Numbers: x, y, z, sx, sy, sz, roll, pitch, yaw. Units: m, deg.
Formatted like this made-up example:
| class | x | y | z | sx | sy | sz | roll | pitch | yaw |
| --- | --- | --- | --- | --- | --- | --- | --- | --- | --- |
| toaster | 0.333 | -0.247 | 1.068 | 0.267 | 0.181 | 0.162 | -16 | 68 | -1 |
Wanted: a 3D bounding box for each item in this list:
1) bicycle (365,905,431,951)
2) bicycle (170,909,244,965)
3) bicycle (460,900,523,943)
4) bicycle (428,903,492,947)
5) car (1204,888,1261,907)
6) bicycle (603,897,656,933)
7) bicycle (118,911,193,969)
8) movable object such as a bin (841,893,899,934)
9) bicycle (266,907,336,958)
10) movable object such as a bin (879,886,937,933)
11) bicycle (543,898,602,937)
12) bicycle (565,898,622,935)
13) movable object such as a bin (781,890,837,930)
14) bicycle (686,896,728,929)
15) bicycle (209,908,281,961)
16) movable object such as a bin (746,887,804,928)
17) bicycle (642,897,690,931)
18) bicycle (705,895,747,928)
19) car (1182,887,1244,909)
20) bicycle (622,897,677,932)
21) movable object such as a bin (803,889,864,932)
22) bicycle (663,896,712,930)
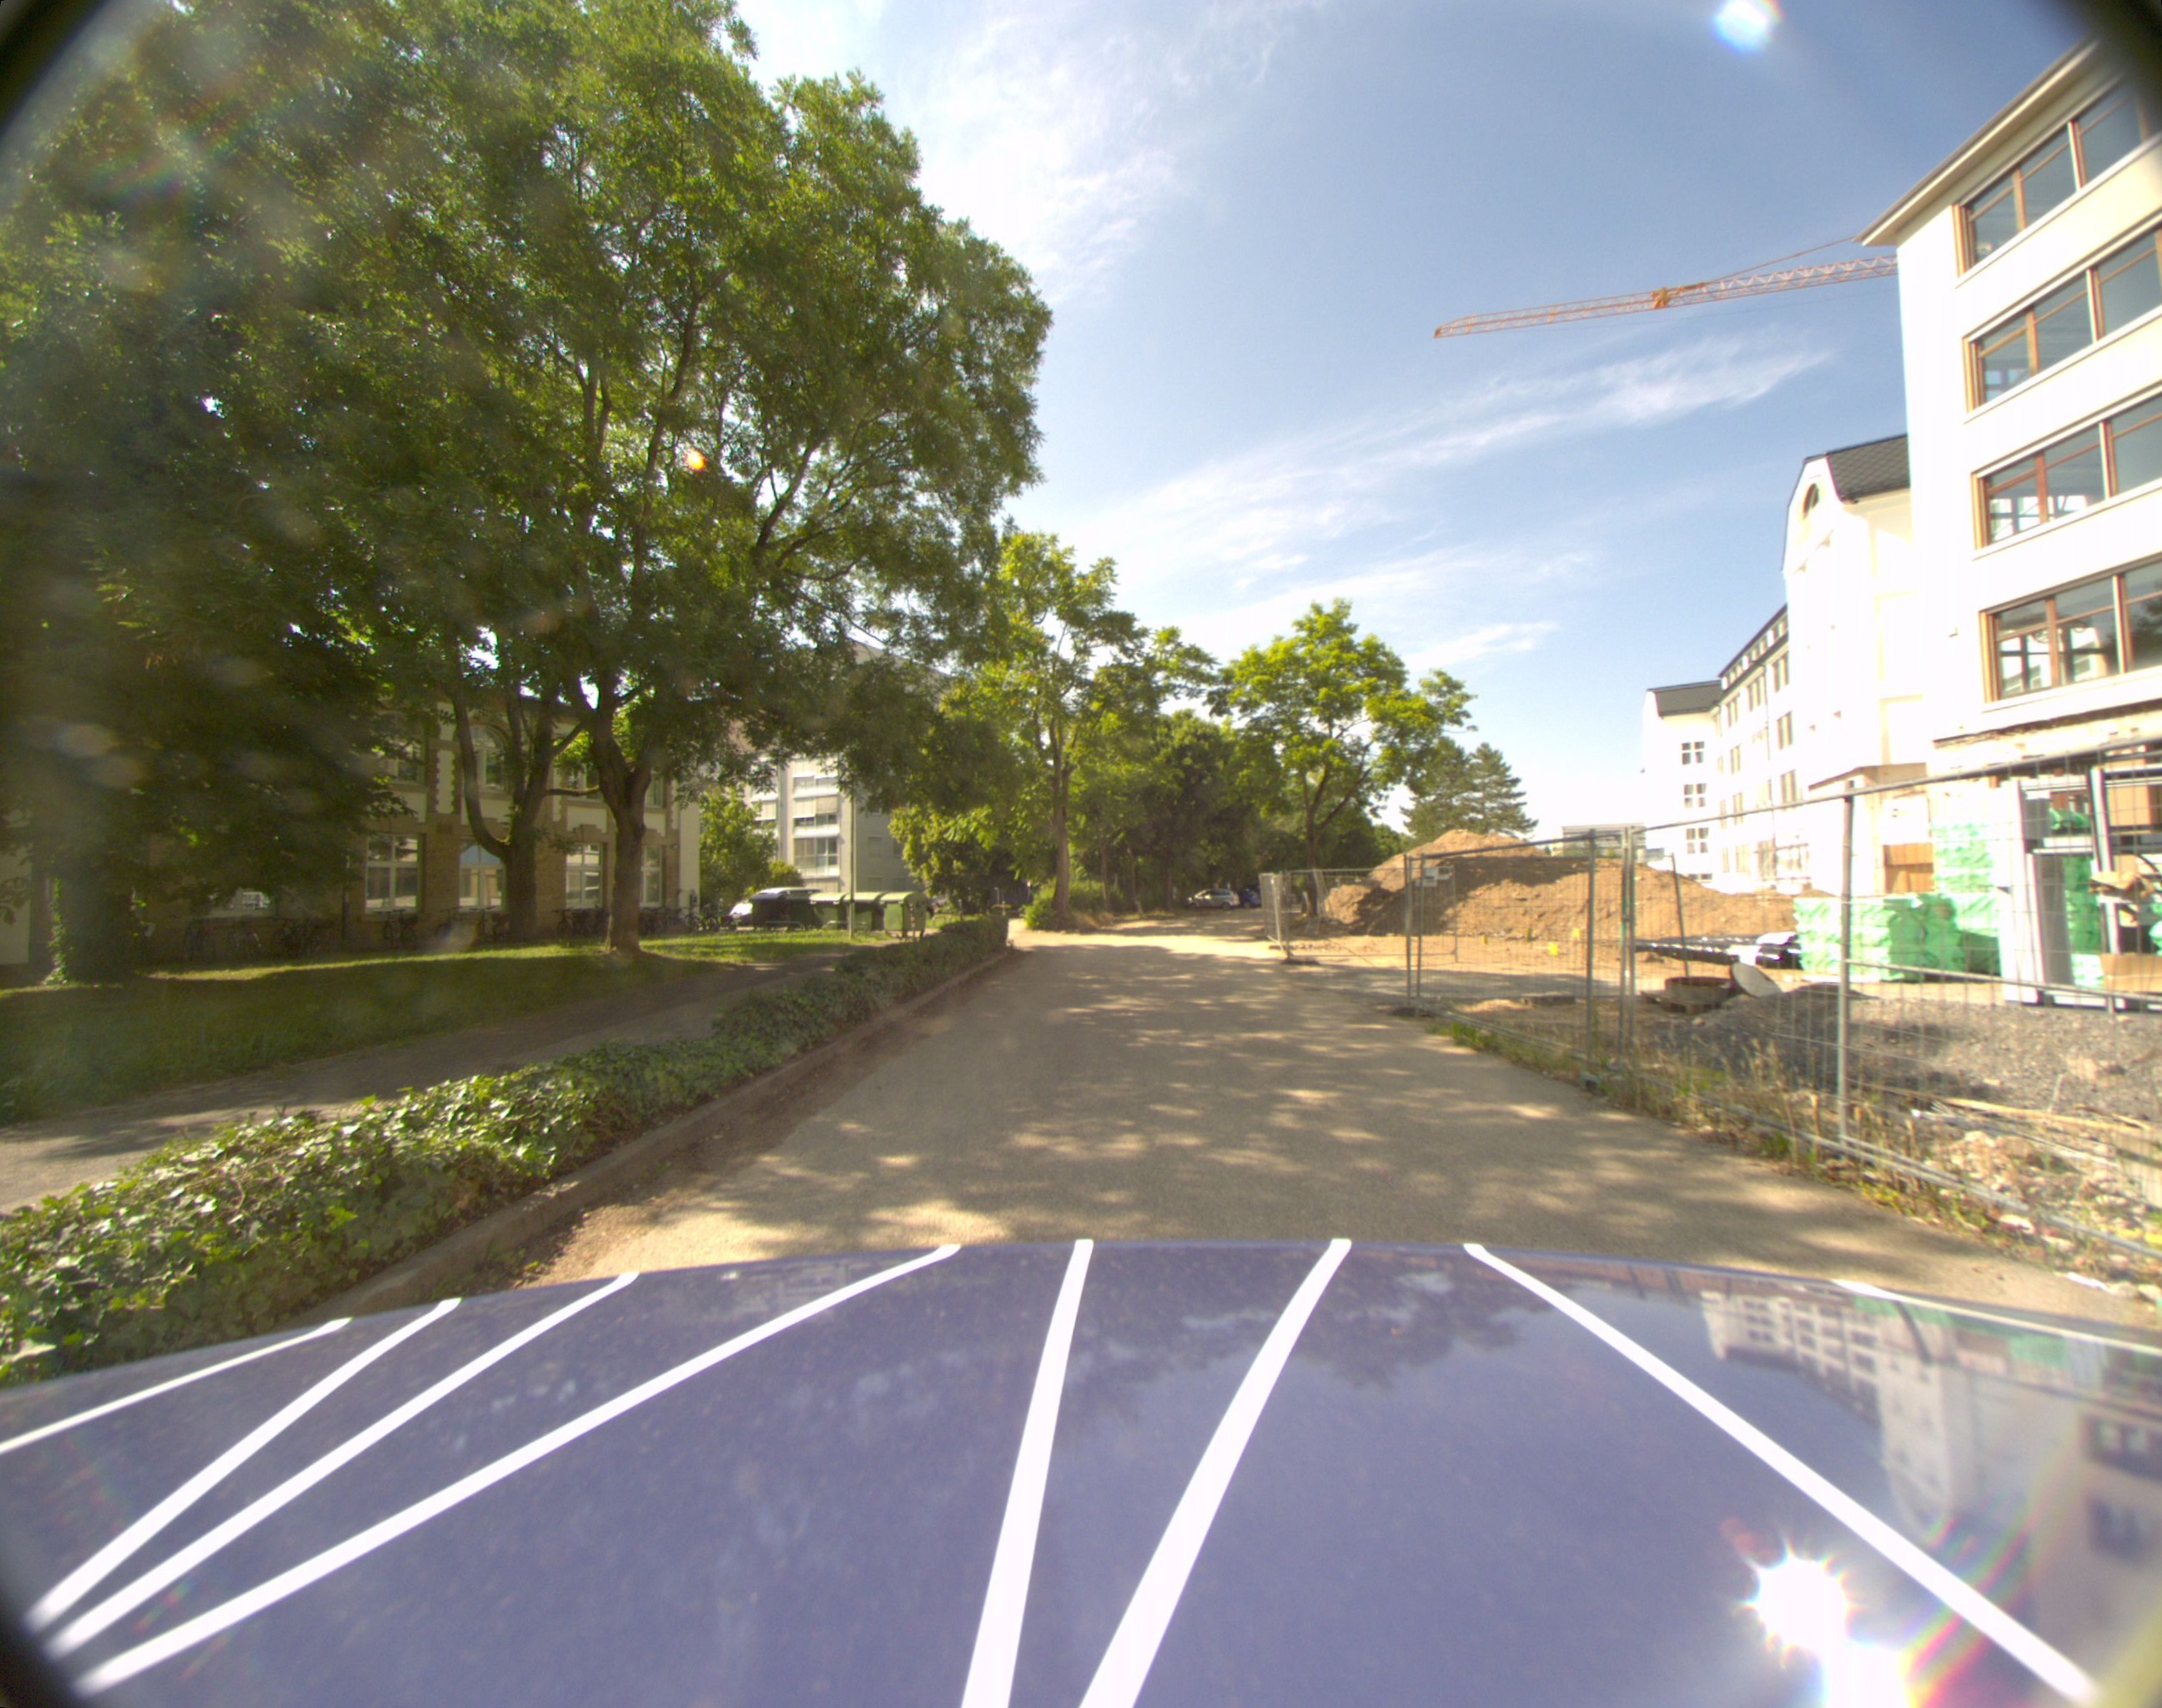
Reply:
| class | x | y | z | sx | sy | sz | roll | pitch | yaw |
| --- | --- | --- | --- | --- | --- | --- | --- | --- | --- |
| bicycle | -18.018 | 1.926 | 20.030 | 2.097 | 1.154 | 0.589 | -2 | -2 | 27 |
| bicycle | -19.606 | 1.836 | 17.036 | 2.097 | 1.154 | 0.589 | -2 | -2 | 27 |
| bicycle | -17.025 | 1.928 | 21.928 | 2.097 | 1.154 | 0.589 | -2 | -2 | 27 |
| bicycle | -17.352 | 1.958 | 21.222 | 2.097 | 1.154 | 0.589 | -2 | -2 | 27 |
| car | 11.879 | 3.424 | 59.520 | 3.991 | 1.433 | 2.004 | -2 | -2 | 22 |
| bicycle | -15.047 | 2.018 | 25.302 | 1.917 | 1.154 | 0.589 | -2 | -2 | 27 |
| bicycle | -19.953 | 1.827 | 16.379 | 2.097 | 1.154 | 0.589 | -2 | -2 | 27 |
| movable object such as a bin | -6.902 | 1.928 | 24.840 | 1.352 | 1.292 | 1.218 | -2 | -2 | 24 |
| bicycle | -18.939 | 1.881 | 18.445 | 2.097 | 1.154 | 0.589 | -2 | -2 | 27 |
| movable object such as a bin | -5.535 | 1.753 | 24.299 | 1.388 | 1.453 | 1.218 | -2 | -2 | 39 |
| bicycle | -15.910 | 1.970 | 23.760 | 2.097 | 1.154 | 0.589 | -2 | -2 | 27 |
| bicycle | -15.649 | 1.994 | 24.380 | 2.097 | 1.154 | 0.589 | -2 | -2 | 27 |
| movable object such as a bin | -9.465 | 1.931 | 26.484 | 1.349 | 1.341 | 1.218 | -2 | -2 | 24 |
| bicycle | -13.688 | 2.118 | 27.792 | 1.800 | 1.154 | 0.508 | -2 | -2 | 32 |
| bicycle | -19.428 | 1.847 | 17.647 | 2.097 | 1.154 | 0.589 | -2 | -2 | 27 |
| movable object such as a bin | -10.905 | 1.905 | 27.111 | 1.433 | 1.400 | 1.252 | -2 | -2 | 23 |
| bicycle | -14.478 | 2.076 | 26.499 | 1.909 | 1.154 | 0.495 | -2 | -2 | 27 |
| bicycle | -13.194 | 2.113 | 28.205 | 1.940 | 1.154 | 0.558 | -2 | -2 | 37 |
| car | 9.497 | 3.178 | 54.682 | 3.991 | 1.498 | 2.004 | -2 | -2 | 22 |
| bicycle | -14.763 | 2.052 | 26.000 | 2.097 | 1.154 | 0.589 | -2 | -2 | 27 |
| movable object such as a bin | -8.290 | 1.880 | 25.470 | 1.498 | 1.353 | 1.218 | -2 | -2 | 24 |
| bicycle | -14.125 | 2.100 | 27.289 | 1.846 | 1.154 | 0.615 | -2 | -2 | 27 |
